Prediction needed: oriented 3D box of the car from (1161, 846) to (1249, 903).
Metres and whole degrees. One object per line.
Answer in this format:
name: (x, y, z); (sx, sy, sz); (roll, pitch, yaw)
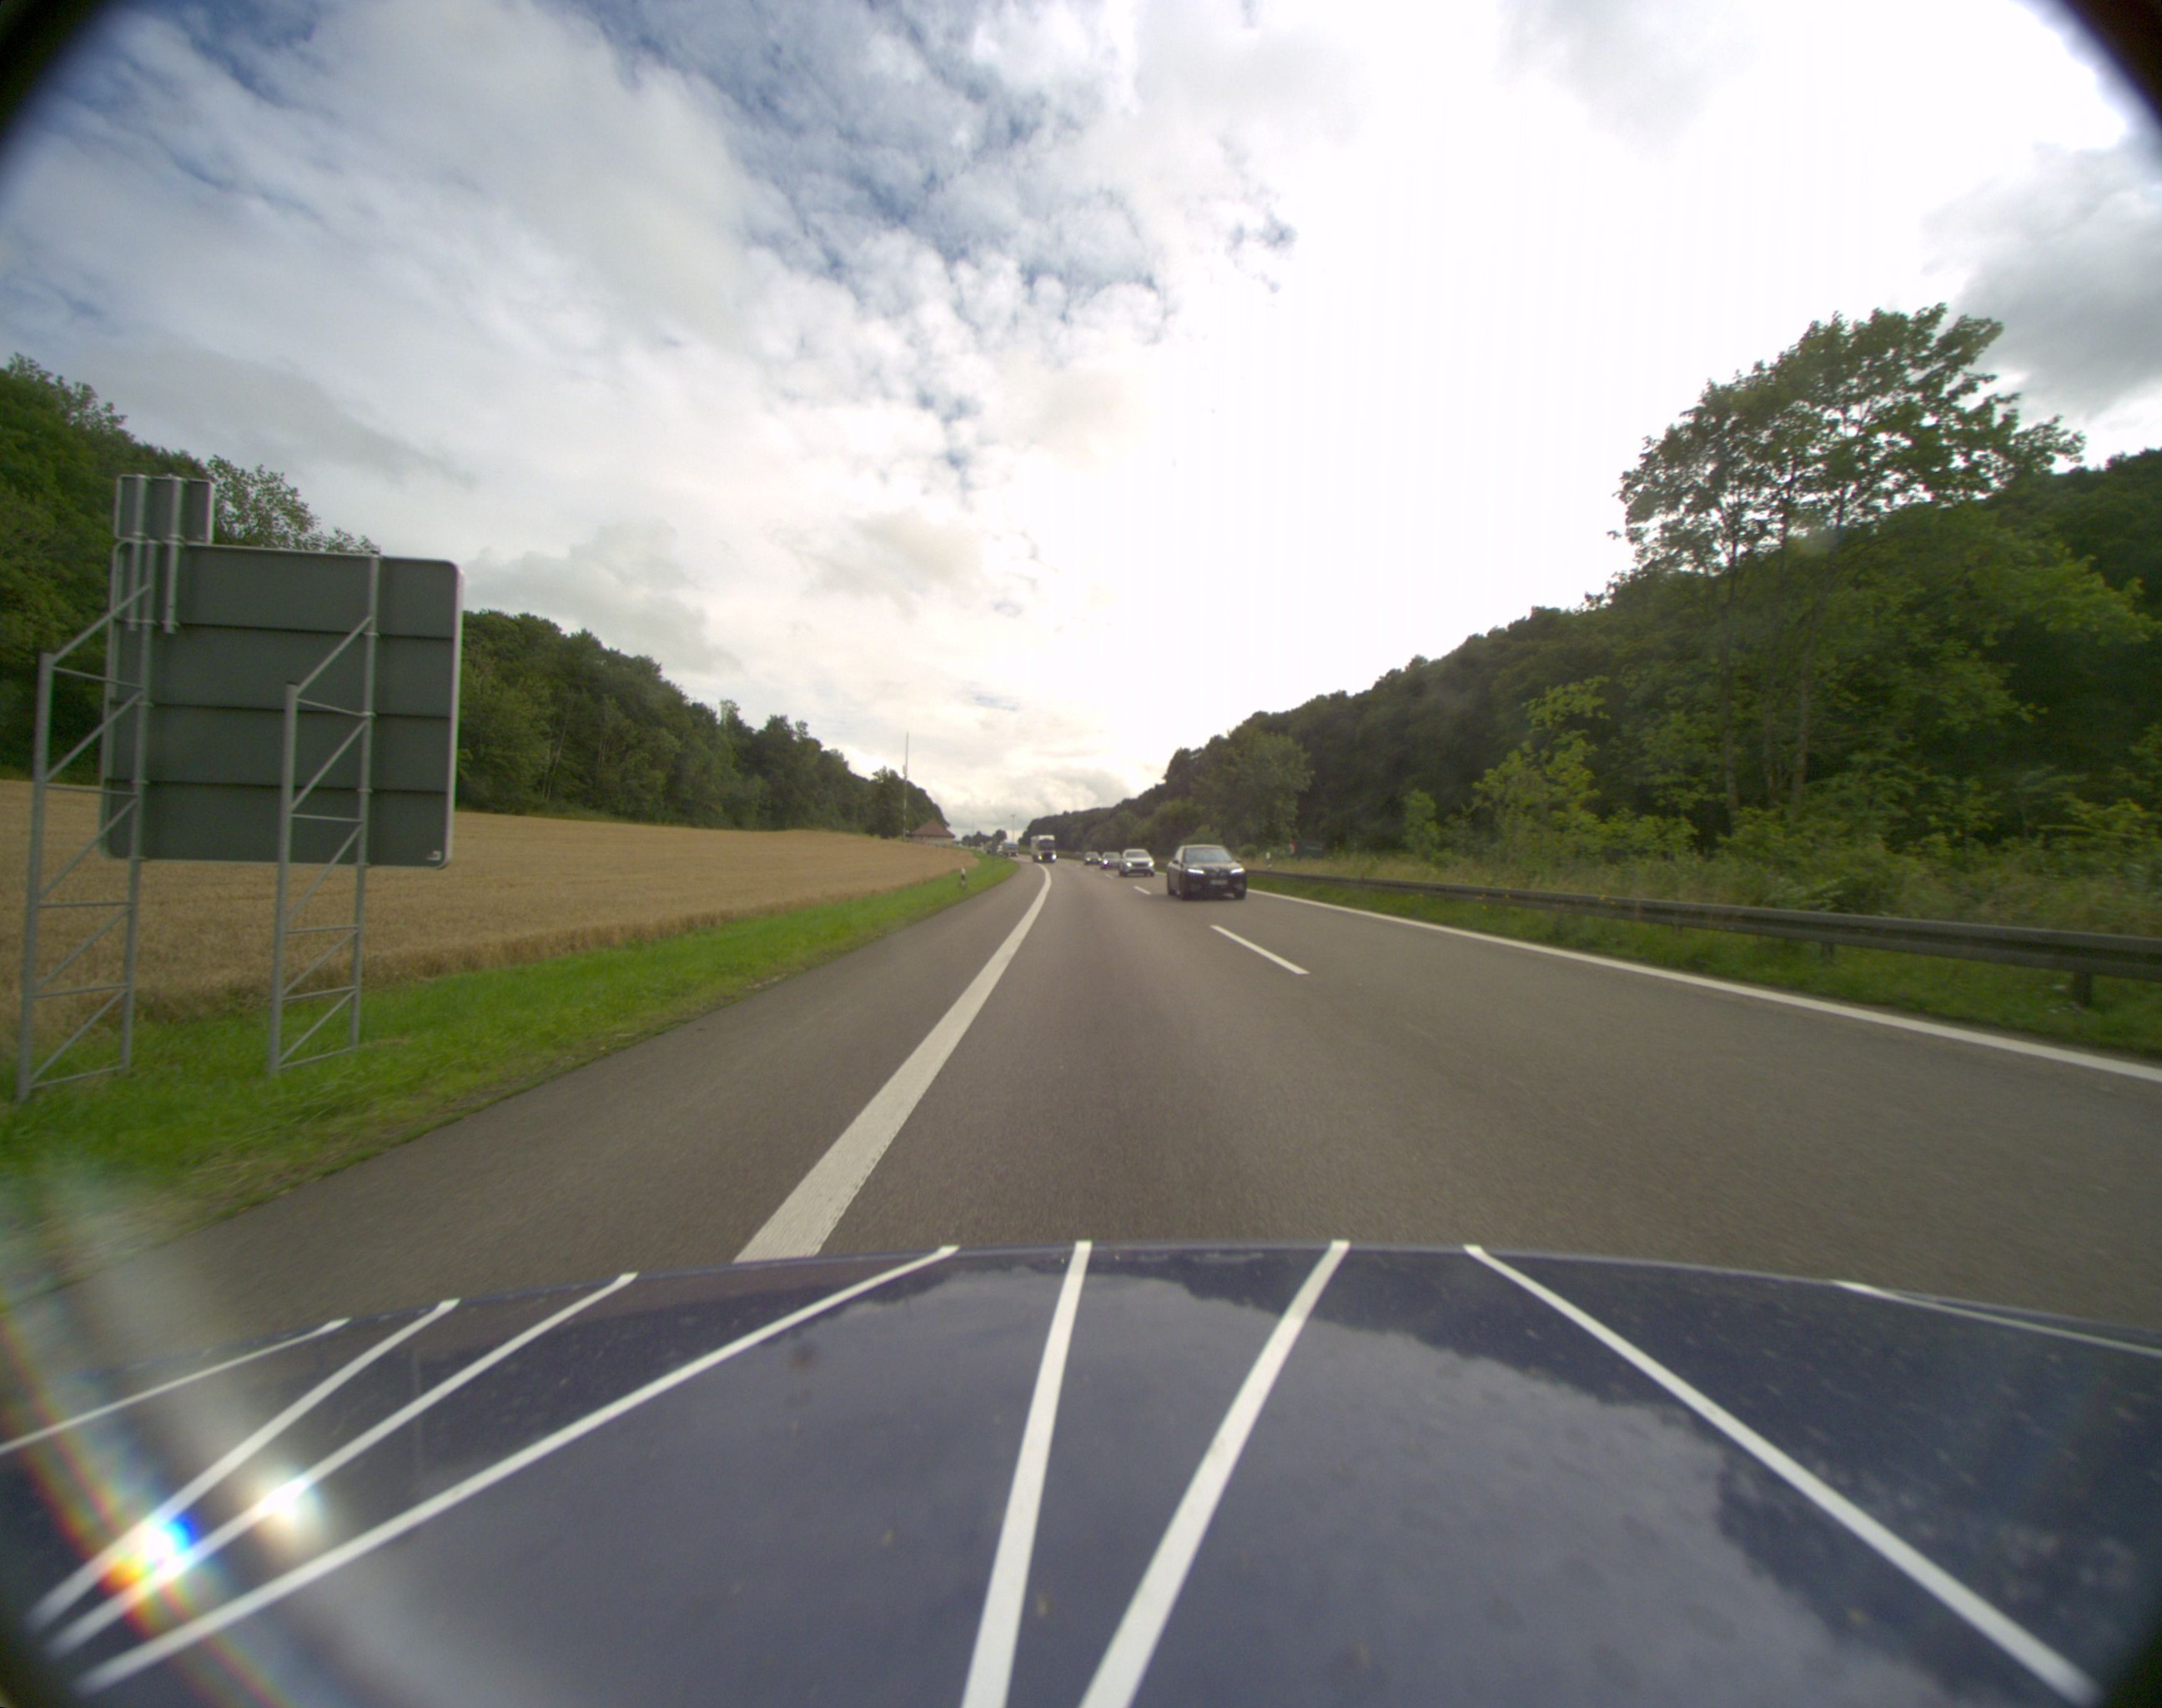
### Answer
car: (3.902, 0.592, 24.602); (1.999, 1.656, 4.413); (-1, 1, -2)

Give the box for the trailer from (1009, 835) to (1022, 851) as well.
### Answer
trailer: (-16.959, -2.810, 195.034); (2.788, 3.932, 11.287); (-1, 1, -7)

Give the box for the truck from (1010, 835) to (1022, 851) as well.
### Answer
truck: (-16.258, -2.741, 189.534); (2.797, 3.949, 5.935); (-1, 1, -7)

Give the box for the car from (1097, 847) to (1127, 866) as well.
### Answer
car: (2.682, 0.192, 66.699); (1.999, 1.656, 4.412); (-1, 1, -5)

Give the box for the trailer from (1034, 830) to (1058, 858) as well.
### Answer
trailer: (-5.442, -1.523, 116.623); (2.788, 3.932, 11.287); (-1, 1, -7)

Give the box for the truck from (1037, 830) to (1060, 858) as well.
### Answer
truck: (-4.806, -1.490, 111.751); (2.797, 3.949, 5.935); (-1, 1, -8)

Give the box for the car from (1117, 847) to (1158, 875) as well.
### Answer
car: (3.462, 0.387, 47.152); (1.999, 1.656, 4.413); (-1, 1, -3)

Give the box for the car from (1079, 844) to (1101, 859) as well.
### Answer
car: (1.023, -0.291, 88.505); (2.000, 1.656, 4.411); (-1, 2, -7)

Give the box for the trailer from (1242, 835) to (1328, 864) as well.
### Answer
trailer: (24.353, -0.534, 91.977); (3.164, 3.201, 13.793); (-2, 0, -18)
